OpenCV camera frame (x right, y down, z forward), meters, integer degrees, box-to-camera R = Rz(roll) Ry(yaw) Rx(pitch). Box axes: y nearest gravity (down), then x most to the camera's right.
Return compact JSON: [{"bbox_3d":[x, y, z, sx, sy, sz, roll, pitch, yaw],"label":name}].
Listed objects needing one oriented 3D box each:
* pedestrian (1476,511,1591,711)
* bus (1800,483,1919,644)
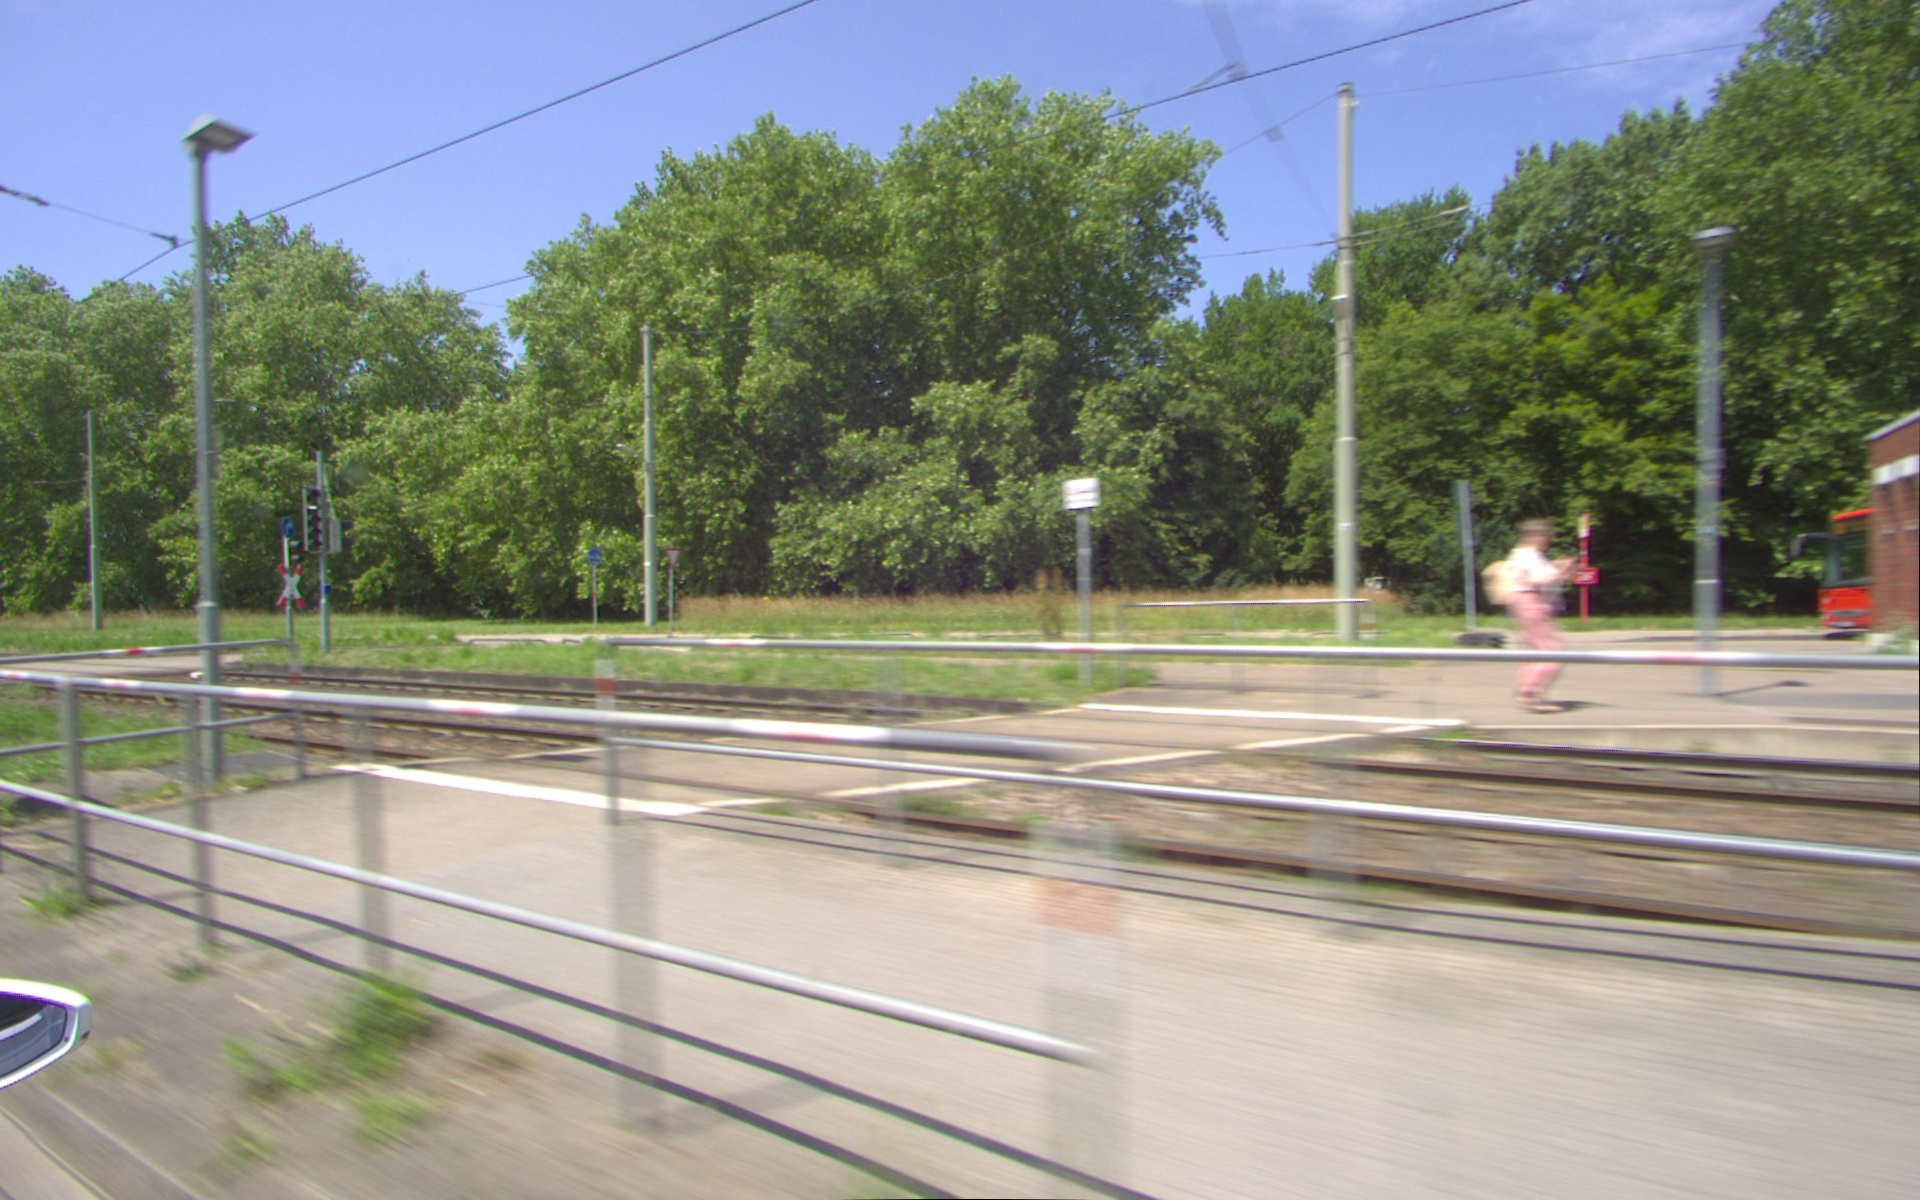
[{"bbox_3d":[5.333,0.115,9.357,0.802,1.782,0.635,-1,-1,19],"label":"pedestrian"},{"bbox_3d":[26.214,-0.845,21.725,12.214,3.483,2.766,-1,-1,13],"label":"bus"}]
